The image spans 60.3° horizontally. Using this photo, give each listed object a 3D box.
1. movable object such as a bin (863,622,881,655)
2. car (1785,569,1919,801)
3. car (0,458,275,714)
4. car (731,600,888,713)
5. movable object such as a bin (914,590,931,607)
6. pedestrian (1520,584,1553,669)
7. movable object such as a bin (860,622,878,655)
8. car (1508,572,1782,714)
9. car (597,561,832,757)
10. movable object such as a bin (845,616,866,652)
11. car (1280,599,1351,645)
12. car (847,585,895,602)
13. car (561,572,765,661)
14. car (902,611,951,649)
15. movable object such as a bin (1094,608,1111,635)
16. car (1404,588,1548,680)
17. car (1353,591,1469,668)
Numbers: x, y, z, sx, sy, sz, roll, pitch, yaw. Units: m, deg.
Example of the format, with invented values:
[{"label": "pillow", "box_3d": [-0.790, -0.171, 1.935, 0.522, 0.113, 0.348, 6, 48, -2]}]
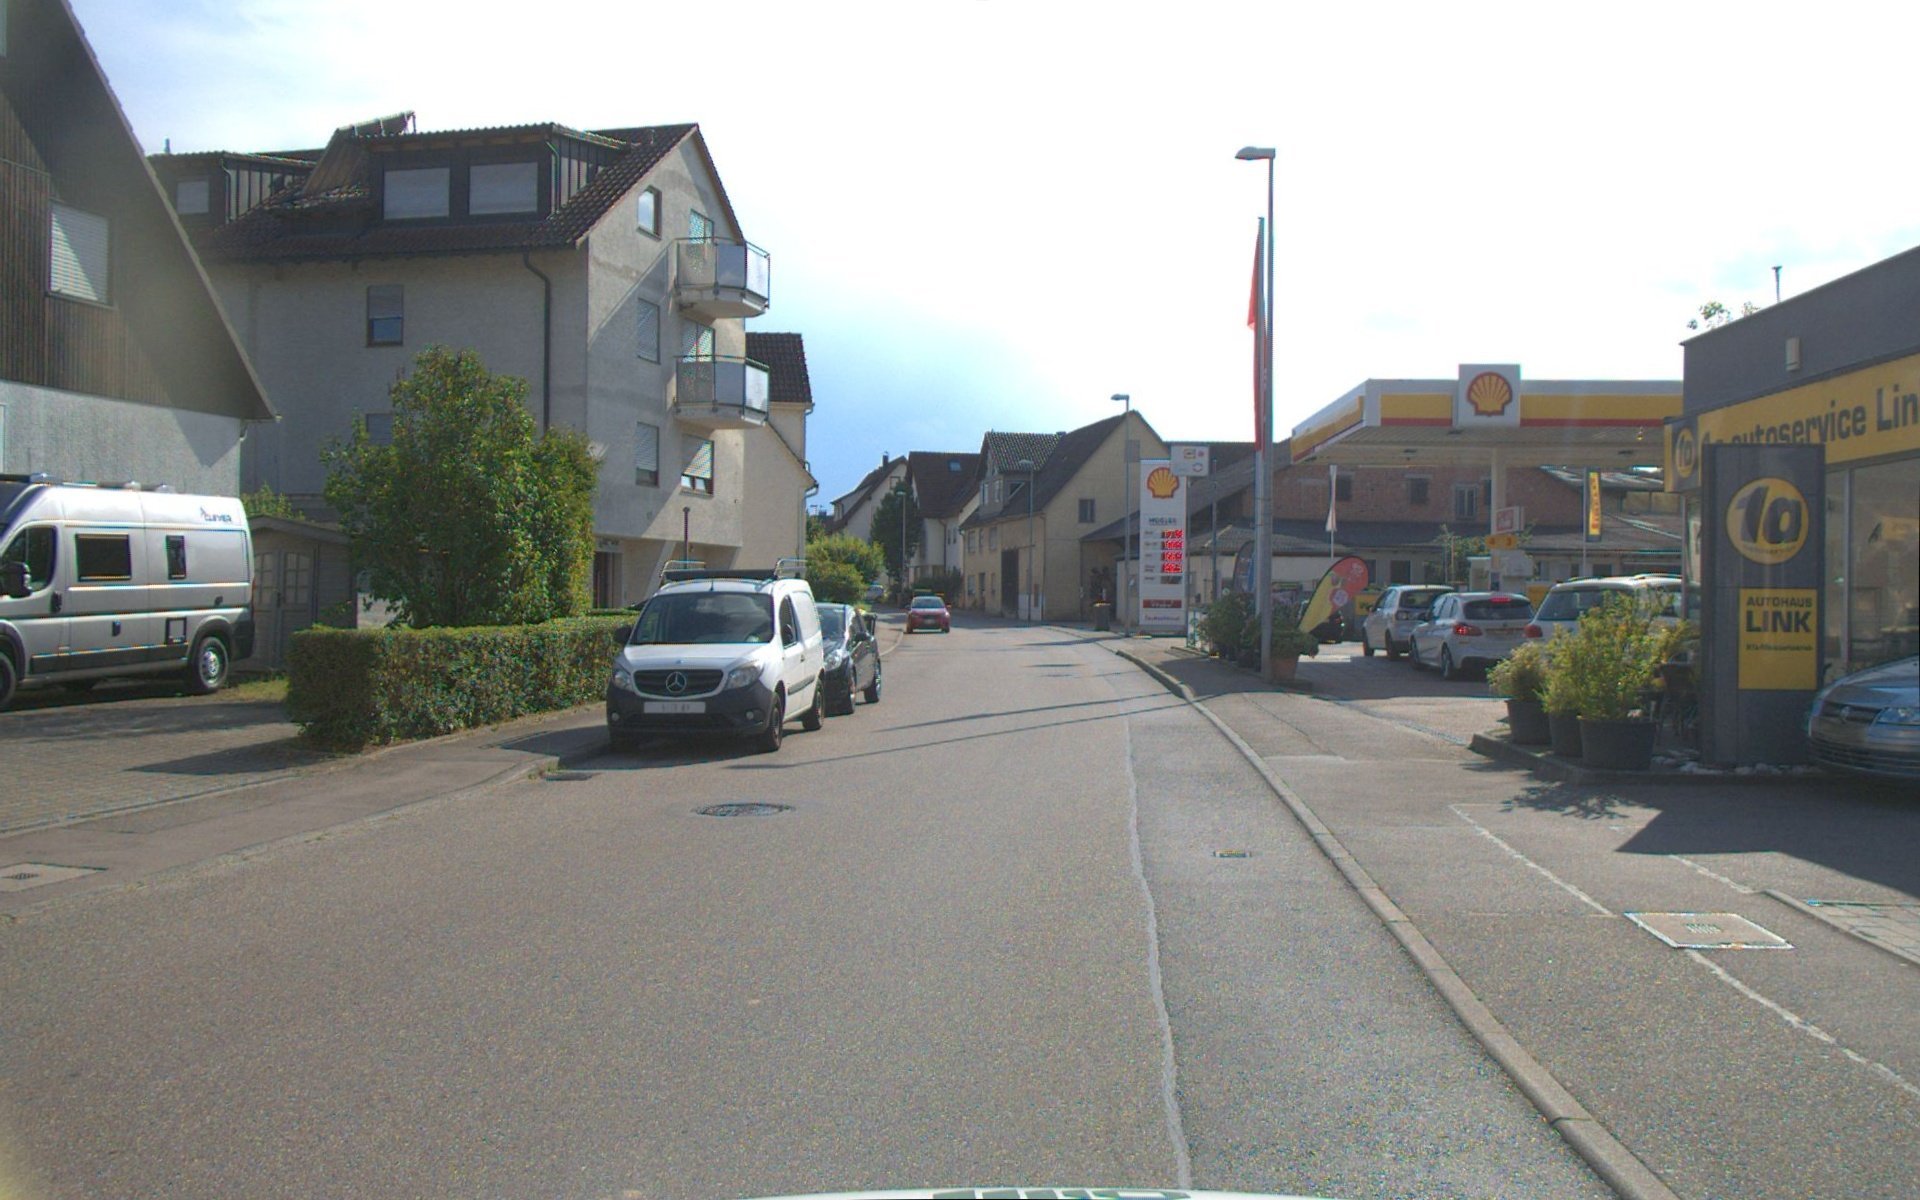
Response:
[{"label": "movable object such as a bin", "box_3d": [-2.851, 1.248, 53.672, 0.520, 1.040, 0.457, -1, 0, 2]}, {"label": "car", "box_3d": [8.266, 0.580, 11.920, 3.906, 1.558, 1.527, 0, 0, -2]}, {"label": "car", "box_3d": [-10.672, -0.171, 19.267, 2.112, 2.641, 6.099, 1, 0, 8]}, {"label": "car", "box_3d": [-2.070, 0.749, 23.686, 1.637, 1.477, 3.836, 0, 0, 4]}, {"label": "movable object such as a bin", "box_3d": [-2.675, -0.085, 117.369, 1.139, 1.189, 0.653, 1, 0, -9]}, {"label": "pedestrian", "box_3d": [11.601, 0.535, 33.270, 0.490, 1.699, 0.534, 0, -1, 3]}, {"label": "movable object such as a bin", "box_3d": [-2.925, 1.246, 53.177, 0.520, 1.040, 0.457, -1, 0, 2]}, {"label": "car", "box_3d": [9.127, 0.511, 21.903, 4.039, 1.704, 1.653, -1, 0, -40]}, {"label": "car", "box_3d": [-2.569, 0.583, 18.258, 1.680, 1.905, 4.194, -1, 0, 4]}, {"label": "movable object such as a bin", "box_3d": [-3.244, 1.044, 51.278, 0.576, 1.103, 0.508, -1, 0, 2]}, {"label": "car", "box_3d": [12.094, 0.710, 56.528, 1.545, 1.452, 4.382, 1, 0, 1]}, {"label": "car", "box_3d": [-7.437, -0.523, 138.205, 3.910, 1.376, 1.708, 1, 0, -6]}, {"label": "car", "box_3d": [-6.468, 0.341, 36.142, 3.904, 1.564, 1.764, 5, 1, 15]}, {"label": "car", "box_3d": [-1.416, 1.221, 68.215, 1.676, 1.460, 3.775, -1, 0, -6]}, {"label": "movable object such as a bin", "box_3d": [5.846, 0.881, 68.047, 0.639, 1.092, 0.513, 0, 0, 0]}, {"label": "car", "box_3d": [9.594, 0.588, 31.027, 1.637, 1.605, 4.000, 0, 0, 3]}, {"label": "car", "box_3d": [9.853, 0.605, 36.423, 1.637, 1.605, 4.000, 0, 0, 3]}]
